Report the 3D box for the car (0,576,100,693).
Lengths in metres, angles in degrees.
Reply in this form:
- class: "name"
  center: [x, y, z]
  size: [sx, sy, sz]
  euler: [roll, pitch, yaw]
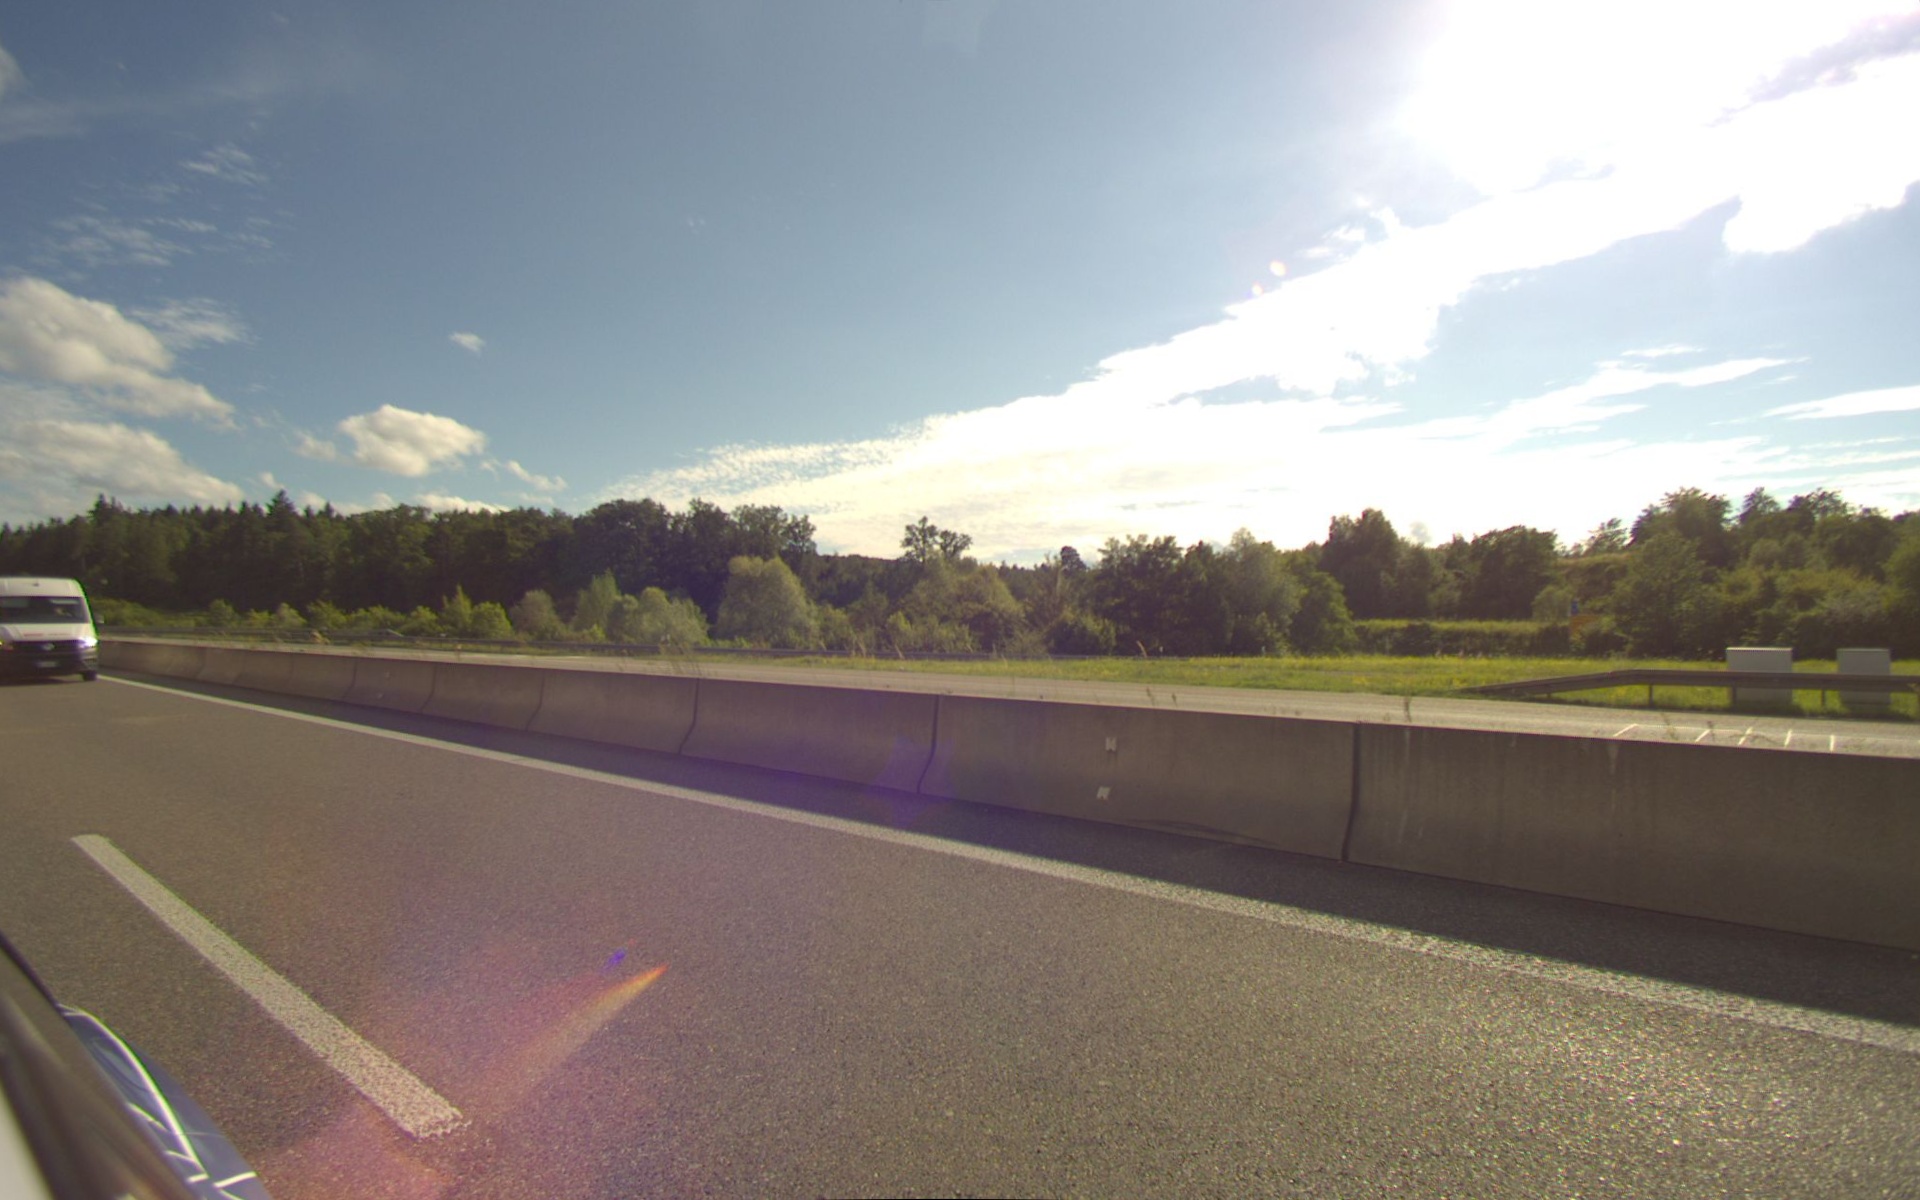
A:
- class: "car"
  center: [-23.363, 0.824, 25.225]
  size: [6.178, 2.619, 1.994]
  euler: [-1, -2, 41]
